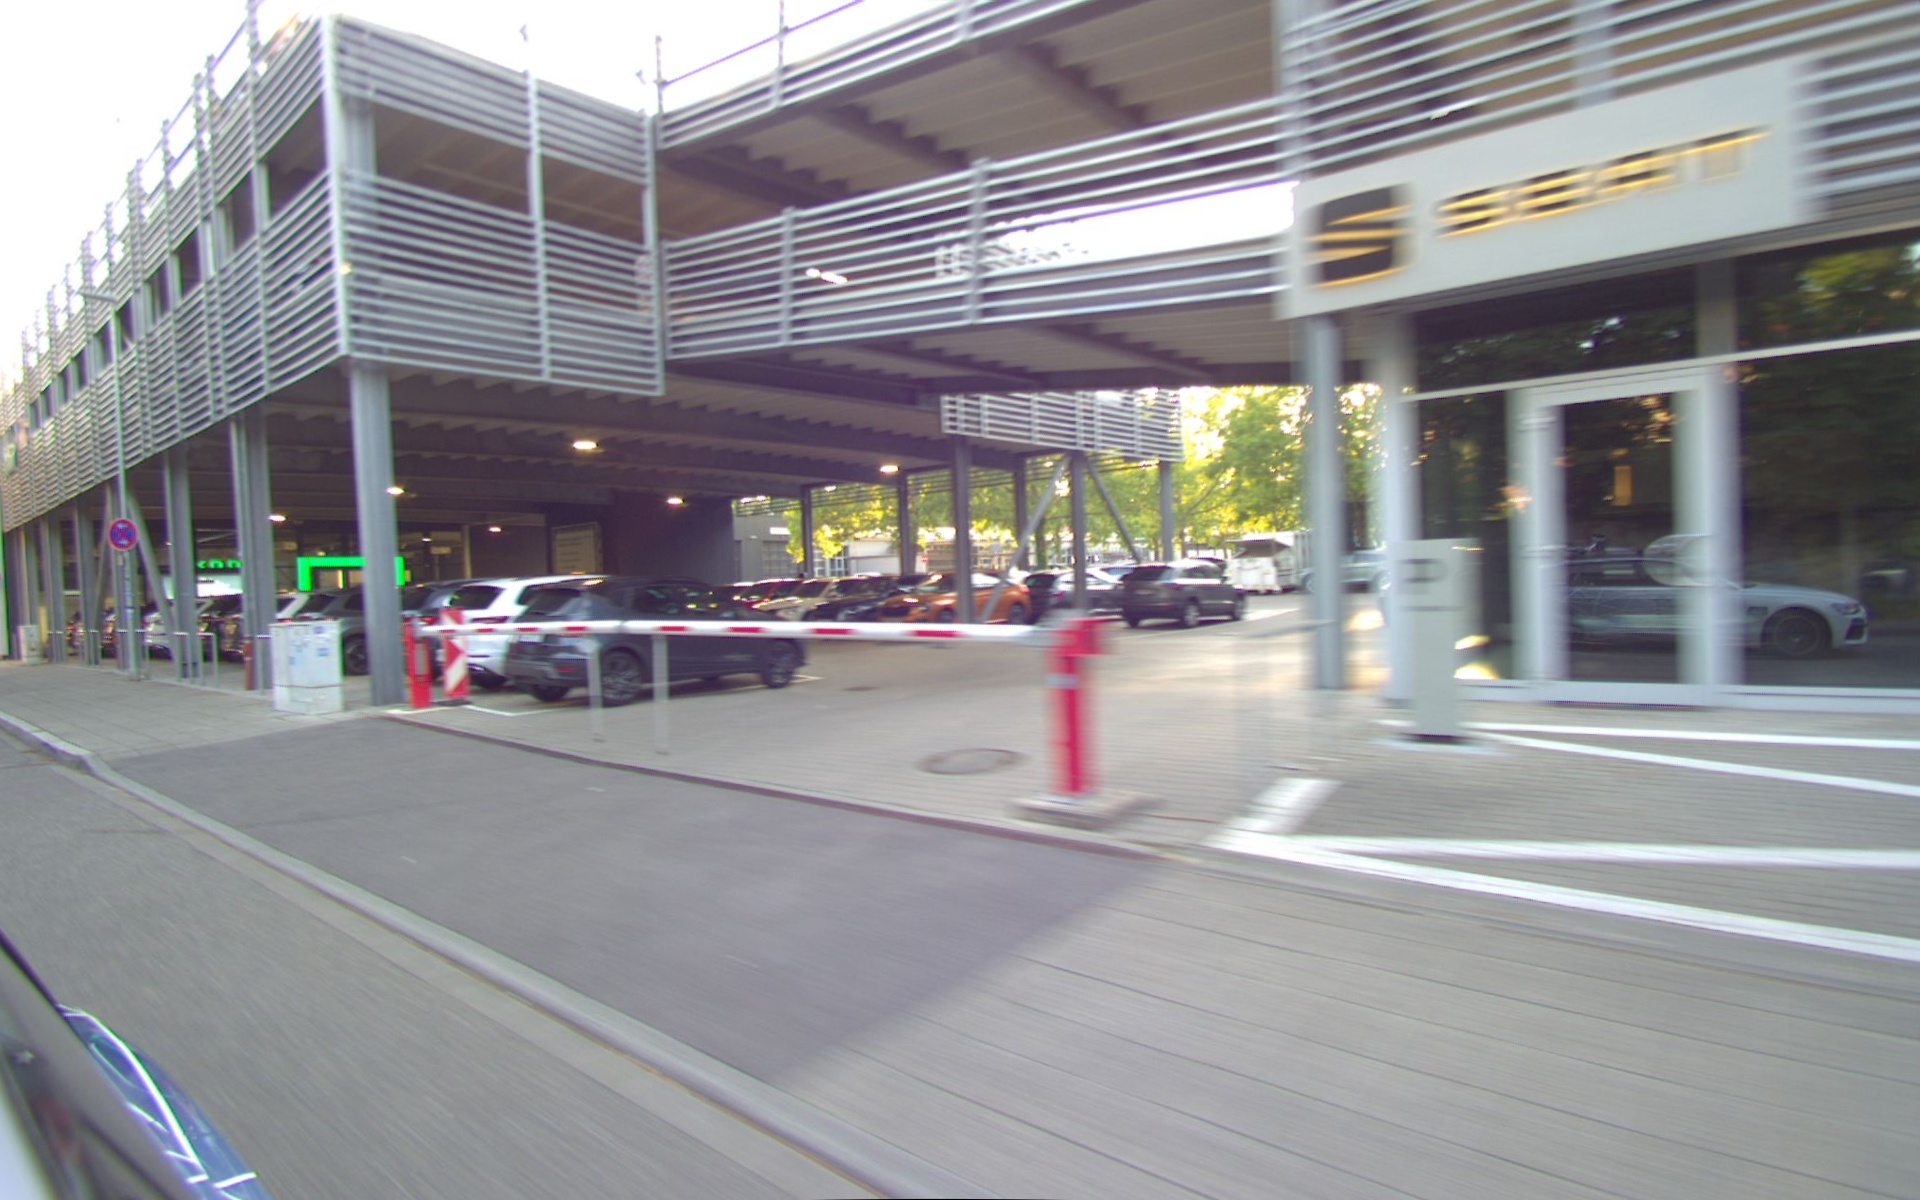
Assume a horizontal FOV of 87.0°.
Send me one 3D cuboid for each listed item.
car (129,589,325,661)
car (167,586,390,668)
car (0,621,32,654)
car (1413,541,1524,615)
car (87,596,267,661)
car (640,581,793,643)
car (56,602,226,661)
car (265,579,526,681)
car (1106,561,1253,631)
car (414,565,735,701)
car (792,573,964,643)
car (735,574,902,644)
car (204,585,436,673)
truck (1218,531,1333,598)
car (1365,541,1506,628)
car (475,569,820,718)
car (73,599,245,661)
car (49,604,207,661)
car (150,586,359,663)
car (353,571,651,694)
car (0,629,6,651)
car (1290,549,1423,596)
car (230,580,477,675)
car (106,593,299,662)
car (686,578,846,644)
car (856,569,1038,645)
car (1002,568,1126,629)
[{"bbox_3d":[-19.836,0.645,27.505,1.859,1.696,3.983,-3,0,42],"label":"car"},{"bbox_3d":[-16.255,0.604,24.293,1.859,1.696,4.060,-3,0,42],"label":"car"},{"bbox_3d":[-47.379,1.886,50.066,4.189,1.526,1.680,-2,0,41],"label":"car"},{"bbox_3d":[12.485,-0.571,24.747,1.685,1.484,3.795,-6,0,37],"label":"car"},{"bbox_3d":[-23.534,0.830,30.510,1.859,1.696,3.993,-3,0,42],"label":"car"},{"bbox_3d":[-7.034,0.321,29.502,1.859,1.570,3.945,-3,0,42],"label":"car"},{"bbox_3d":[-27.191,1.011,33.705,1.859,1.696,4.122,-3,0,42],"label":"car"},{"bbox_3d":[-10.901,0.526,19.752,1.859,1.696,4.022,-3,0,42],"label":"car"},{"bbox_3d":[5.587,-0.128,25.465,1.859,1.565,3.939,-3,0,42],"label":"car"},{"bbox_3d":[-5.612,0.404,15.103,1.859,1.696,4.037,-3,0,42],"label":"car"},{"bbox_3d":[-1.946,0.170,24.901,1.859,1.506,4.009,-3,0,42],"label":"car"},{"bbox_3d":[-3.606,0.206,26.356,1.859,1.591,4.025,-3,0,42],"label":"car"},{"bbox_3d":[-14.407,0.606,22.939,1.859,1.696,4.060,-3,0,42],"label":"car"},{"bbox_3d":[13.701,-1.574,43.630,2.441,2.587,6.853,-2,1,38],"label":"truck"},{"bbox_3d":[9.788,-0.348,20.699,1.784,1.484,3.794,-6,-1,37],"label":"car"},{"bbox_3d":[-3.924,0.425,13.247,1.858,1.597,3.948,0,2,39],"label":"car"},{"bbox_3d":[-25.486,0.927,32.284,1.859,1.696,3.993,-3,0,42],"label":"car"},{"bbox_3d":[-29.030,1.102,35.405,1.859,1.696,4.000,-3,0,42],"label":"car"},{"bbox_3d":[-18.025,0.599,25.978,1.859,1.696,4.041,-3,0,42],"label":"car"},{"bbox_3d":[-7.441,0.459,16.743,1.859,1.696,4.044,-3,0,42],"label":"car"},{"bbox_3d":[-59.726,2.497,61.902,3.449,1.303,1.577,-2,0,40],"label":"car"},{"bbox_3d":[15.504,-1.069,39.612,4.381,1.585,2.275,-2,1,38],"label":"car"},{"bbox_3d":[-12.664,0.528,21.316,1.859,1.696,4.060,-3,0,42],"label":"car"},{"bbox_3d":[-21.642,0.766,29.018,1.859,1.696,4.106,-3,0,42],"label":"car"},{"bbox_3d":[-5.299,0.277,27.971,1.859,1.608,3.993,-3,0,42],"label":"car"},{"bbox_3d":[-0.208,0.127,23.449,1.830,1.506,4.186,-3,0,42],"label":"car"},{"bbox_3d":[2.839,-0.066,27.101,1.595,1.436,3.415,-2,1,41],"label":"car"}]
